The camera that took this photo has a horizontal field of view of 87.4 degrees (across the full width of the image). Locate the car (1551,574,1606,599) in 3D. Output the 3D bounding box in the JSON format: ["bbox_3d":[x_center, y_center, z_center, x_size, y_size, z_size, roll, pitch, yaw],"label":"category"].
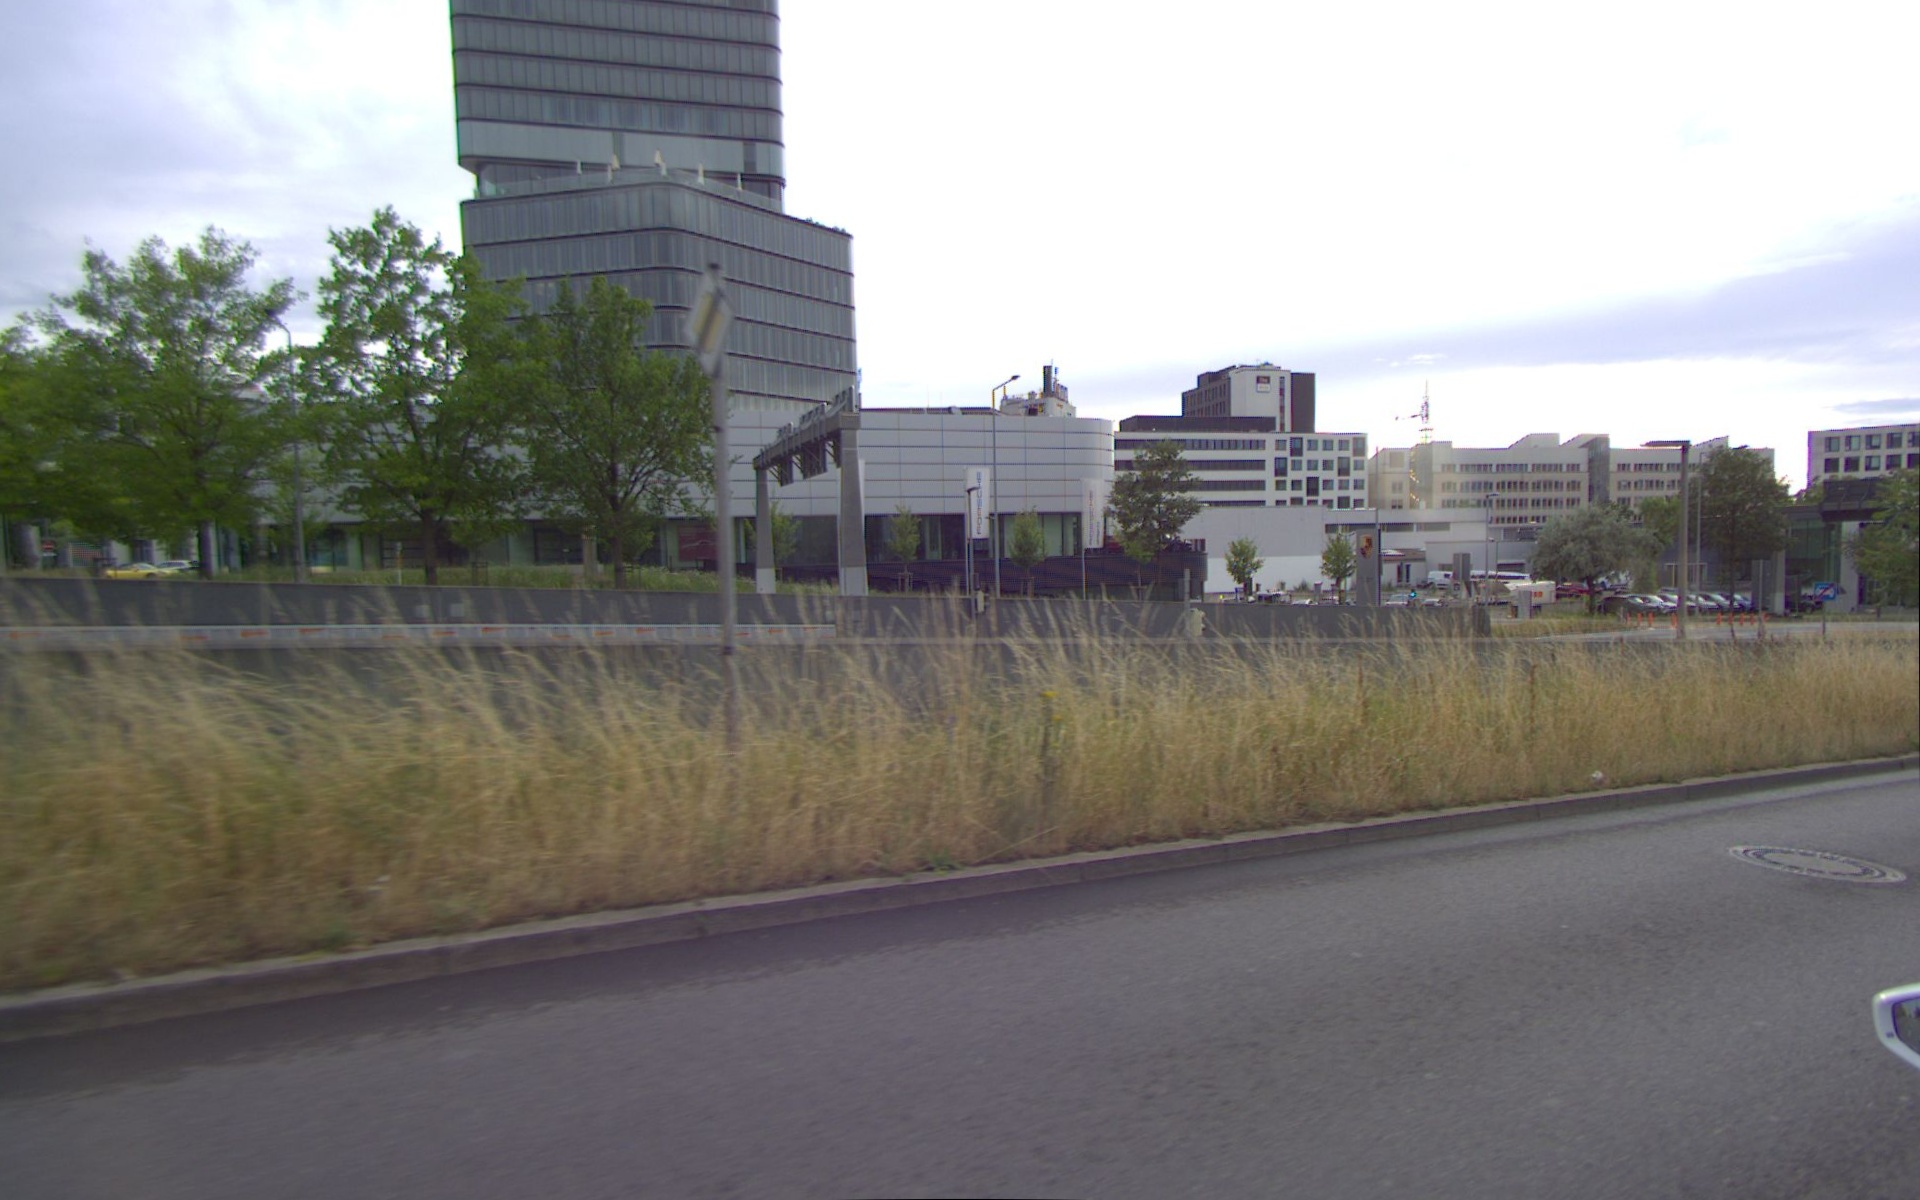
[{"bbox_3d":[54.880,-1.221,89.150,3.932,1.908,1.901,-2,5,-15],"label":"car"}]

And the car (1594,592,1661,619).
[{"bbox_3d":[50.457,0.367,76.022,1.673,1.622,3.995,-3,5,-19],"label":"car"}]

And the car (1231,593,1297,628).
[{"bbox_3d":[26.283,0.860,86.955,2.503,2.524,5.111,-4,6,-30],"label":"car"}]

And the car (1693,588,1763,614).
[{"bbox_3d":[61.159,0.070,80.054,1.893,1.707,3.981,-3,5,-19],"label":"car"}]

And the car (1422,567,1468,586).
[{"bbox_3d":[50.406,-2.475,104.417,3.933,1.707,1.917,-2,5,-15],"label":"car"}]

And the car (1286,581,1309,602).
[{"bbox_3d":[33.348,-0.838,99.143,1.961,1.729,3.997,1,6,21],"label":"car"}]

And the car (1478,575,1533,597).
[{"bbox_3d":[47.903,-1.239,88.204,3.933,1.707,1.917,-2,5,-15],"label":"car"}]

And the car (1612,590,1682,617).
[{"bbox_3d":[52.439,0.229,76.753,1.893,1.707,3.981,-3,5,-19],"label":"car"}]

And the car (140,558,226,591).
[{"bbox_3d":[-51.898,-1.721,67.144,3.925,2.041,1.997,-1,5,-7],"label":"car"}]

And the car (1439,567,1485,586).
[{"bbox_3d":[51.080,-2.380,102.182,3.933,1.707,1.917,-2,5,-15],"label":"car"}]

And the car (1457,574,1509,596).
[{"bbox_3d":[47.407,-1.365,91.050,3.933,1.707,1.917,-2,5,-15],"label":"car"}]

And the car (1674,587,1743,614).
[{"bbox_3d":[59.055,0.015,79.309,1.893,1.707,3.981,-3,5,-19],"label":"car"}]

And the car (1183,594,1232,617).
[{"bbox_3d":[22.397,0.498,91.007,1.979,1.707,3.961,-4,6,-34],"label":"car"}]

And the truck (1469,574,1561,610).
[{"bbox_3d":[46.652,-0.698,84.418,7.294,2.563,2.363,-3,5,-18],"label":"truck"}]

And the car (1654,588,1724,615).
[{"bbox_3d":[56.850,0.127,78.397,1.893,1.707,3.981,-3,5,-19],"label":"car"}]

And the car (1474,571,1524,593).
[{"bbox_3d":[51.753,-1.745,96.515,3.932,1.908,1.993,-2,5,-15],"label":"car"}]

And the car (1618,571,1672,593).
[{"bbox_3d":[63.933,-1.669,93.748,3.940,1.807,1.913,4,7,40],"label":"car"}]

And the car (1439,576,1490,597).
[{"bbox_3d":[46.812,-1.258,93.149,3.933,1.707,1.917,-2,5,-15],"label":"car"}]

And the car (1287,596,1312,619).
[{"bbox_3d":[31.196,0.673,92.191,1.961,1.707,3.997,1,6,21],"label":"car"}]

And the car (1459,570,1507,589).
[{"bbox_3d":[51.611,-2.049,99.178,3.933,1.707,1.917,-2,5,-15],"label":"car"}]
